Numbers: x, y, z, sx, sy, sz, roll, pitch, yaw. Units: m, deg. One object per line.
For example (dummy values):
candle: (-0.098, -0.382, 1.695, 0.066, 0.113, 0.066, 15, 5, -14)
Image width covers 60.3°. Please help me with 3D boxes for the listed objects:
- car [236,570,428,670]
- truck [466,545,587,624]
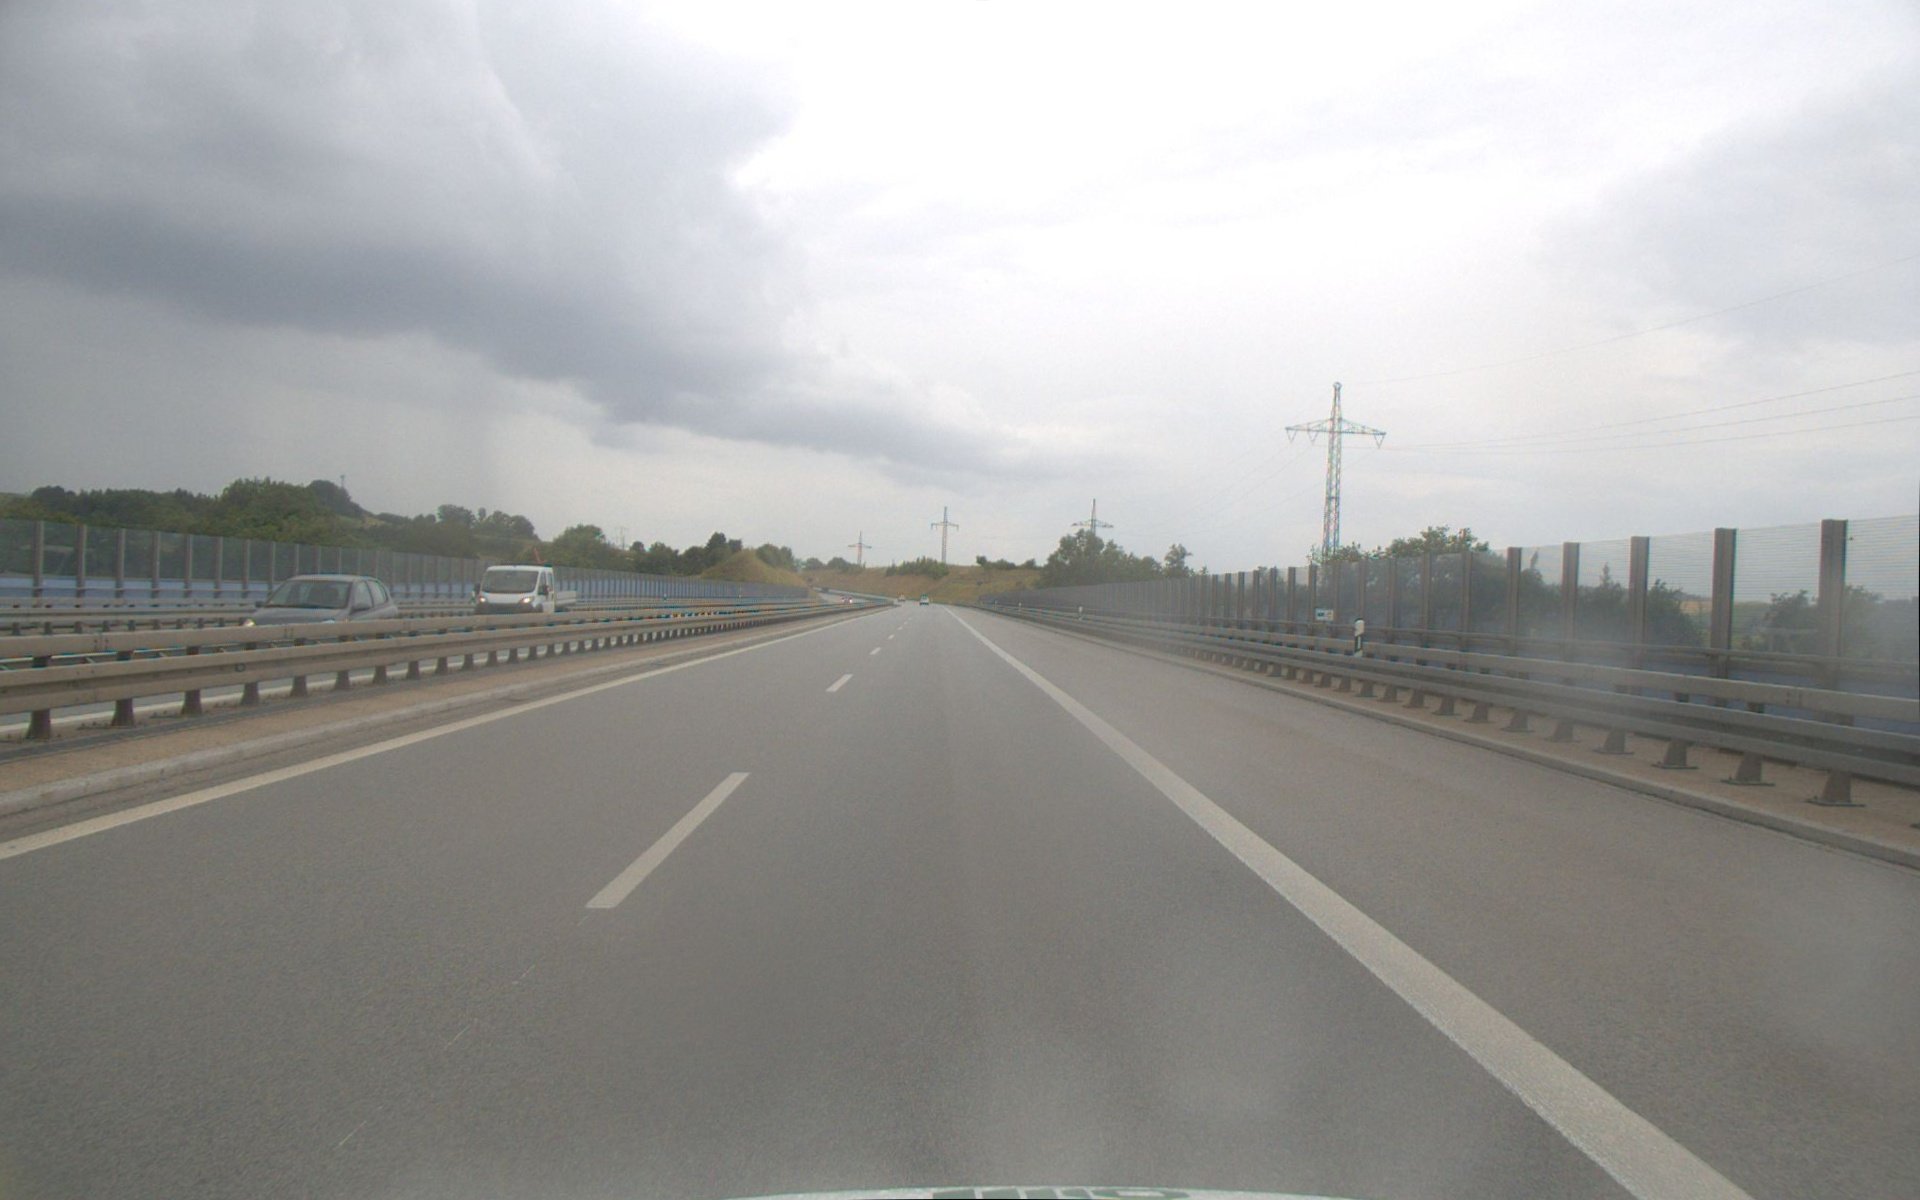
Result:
car: (-10.414, 0.315, 27.740, 1.718, 1.517, 3.999, 1, 0, -1)
truck: (-14.782, -0.508, 56.899, 2.226, 2.474, 7.450, 1, 0, -1)
